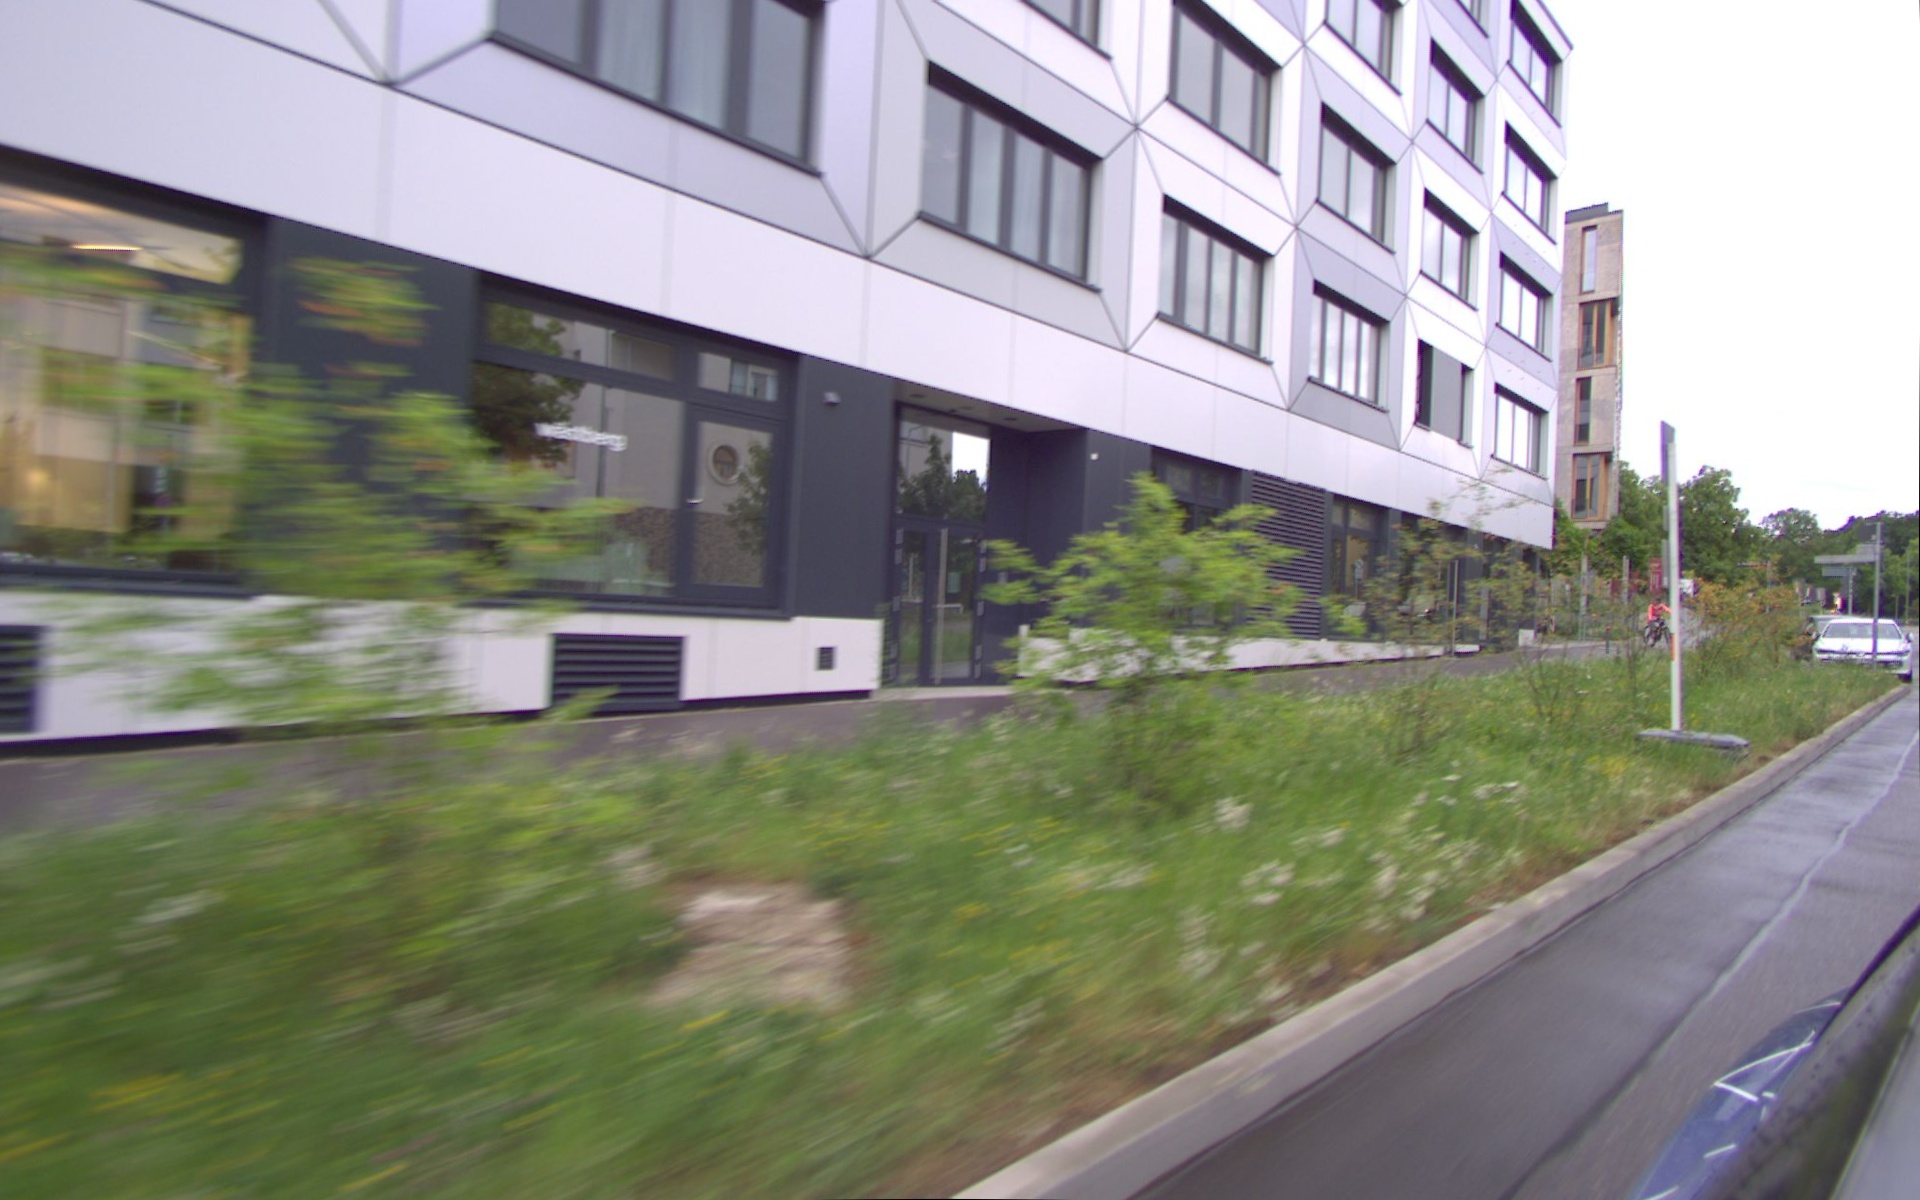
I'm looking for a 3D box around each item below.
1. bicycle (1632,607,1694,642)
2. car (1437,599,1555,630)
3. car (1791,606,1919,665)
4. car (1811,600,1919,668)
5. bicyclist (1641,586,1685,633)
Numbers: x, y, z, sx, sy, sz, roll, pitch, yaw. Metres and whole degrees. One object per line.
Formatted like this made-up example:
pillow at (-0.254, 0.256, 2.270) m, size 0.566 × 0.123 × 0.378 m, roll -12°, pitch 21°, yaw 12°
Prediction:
bicycle at (23.419, 0.801, 33.769) m, size 0.615 × 1.033 × 2.477 m, roll 2°, pitch 1°, yaw 8°
car at (23.068, 0.591, 43.657) m, size 4.228 × 1.260 × 1.702 m, roll 0°, pitch 0°, yaw 43°
car at (24.890, 0.916, 28.265) m, size 2.035 × 1.477 × 4.009 m, roll 0°, pitch 0°, yaw 32°
car at (22.008, 0.747, 24.423) m, size 2.039 × 1.483 × 4.432 m, roll 0°, pitch 0°, yaw 43°
bicyclist at (23.396, 0.306, 33.699) m, size 0.826 × 1.522 × 1.073 m, roll 0°, pitch 0°, yaw 10°
